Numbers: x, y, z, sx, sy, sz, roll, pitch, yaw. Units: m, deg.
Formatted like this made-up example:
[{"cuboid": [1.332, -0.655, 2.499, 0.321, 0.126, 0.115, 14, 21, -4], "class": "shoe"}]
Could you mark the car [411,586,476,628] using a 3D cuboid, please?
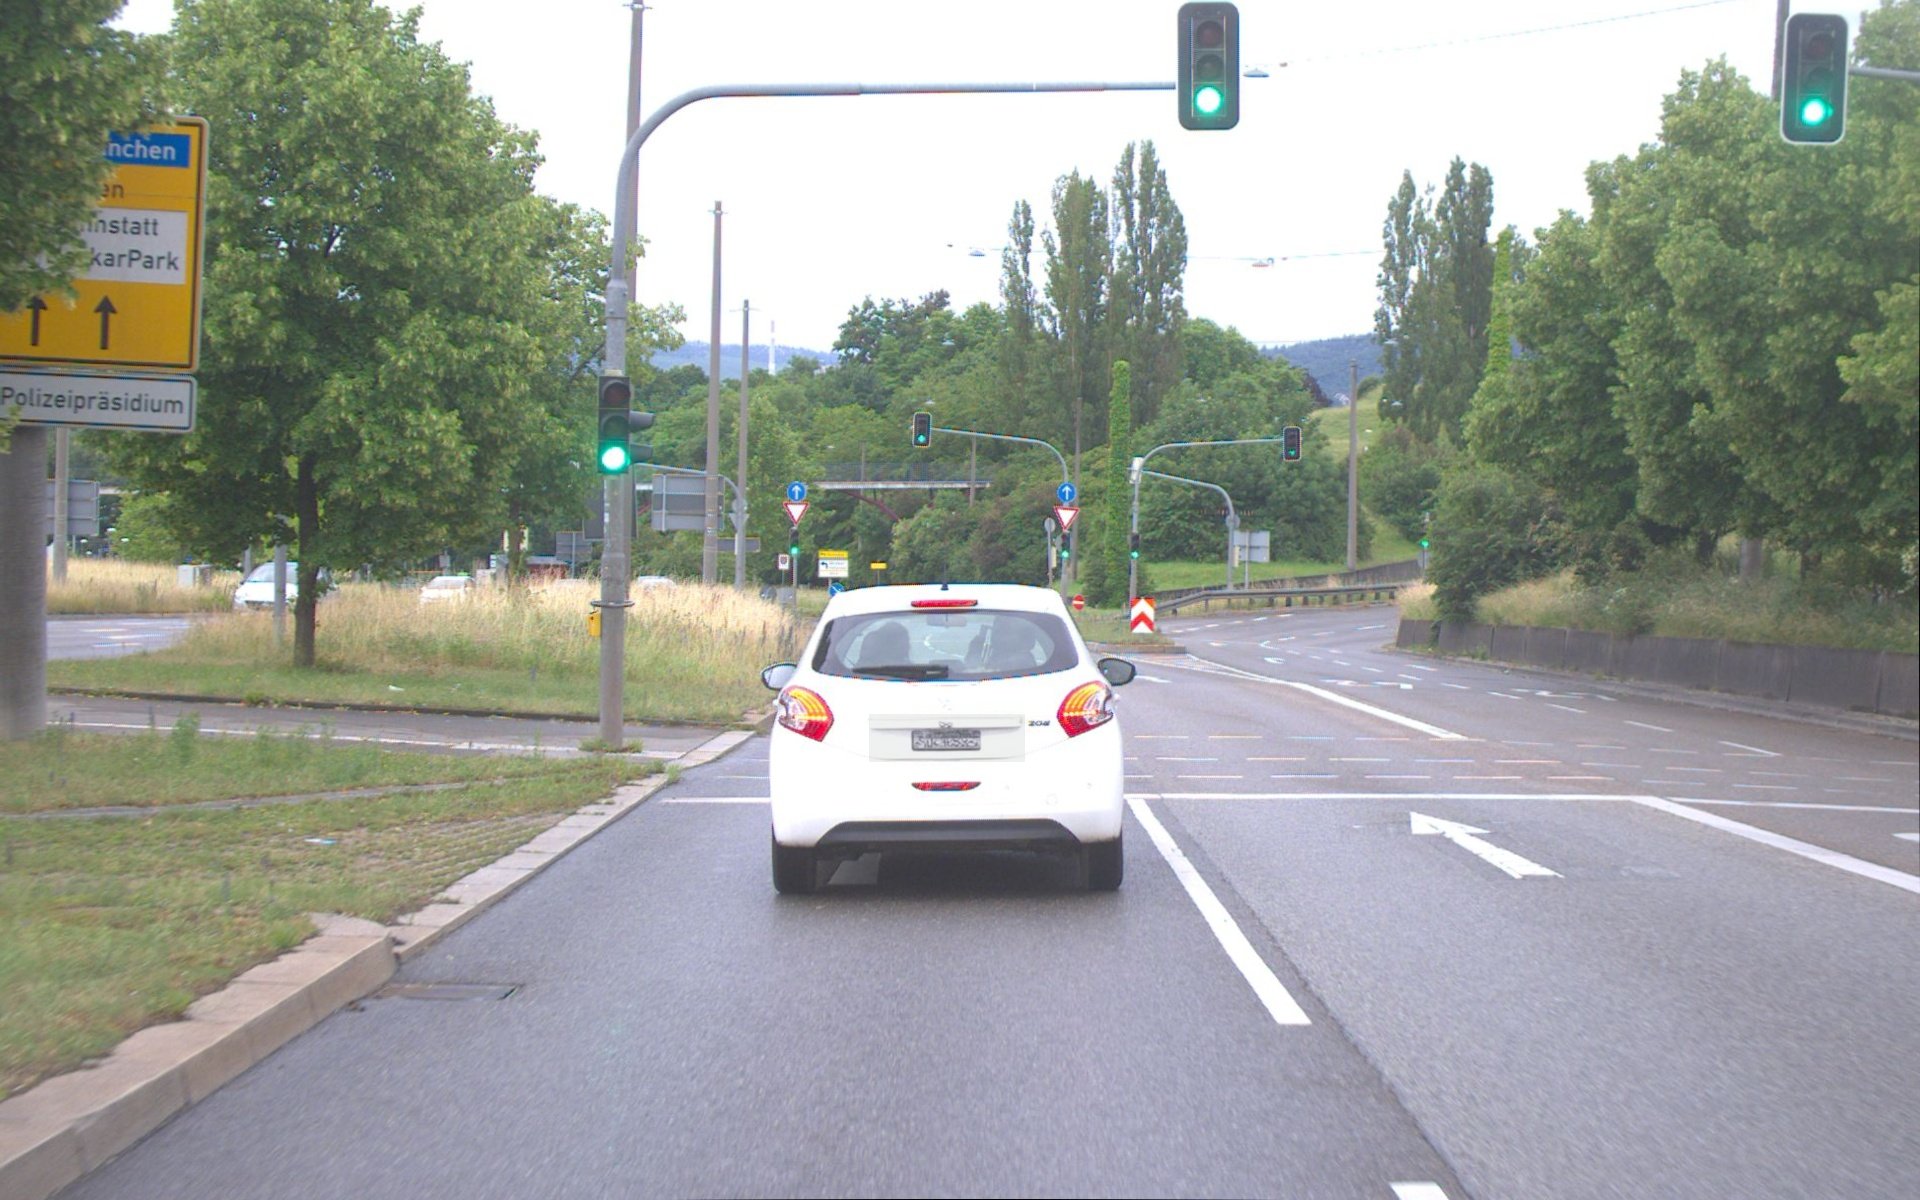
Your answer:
[{"cuboid": [-20.551, 0.299, 136.961, 1.885, 1.606, 4.676, 2, -1, 0], "class": "car"}]

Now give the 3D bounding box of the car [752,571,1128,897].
[{"cuboid": [-0.092, 0.597, 17.507, 1.708, 1.435, 3.691, 0, 1, 0], "class": "car"}]

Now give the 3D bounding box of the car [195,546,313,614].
[{"cuboid": [-15.291, -0.428, 74.599, 1.538, 1.384, 3.927, 2, 0, 3], "class": "car"}]
